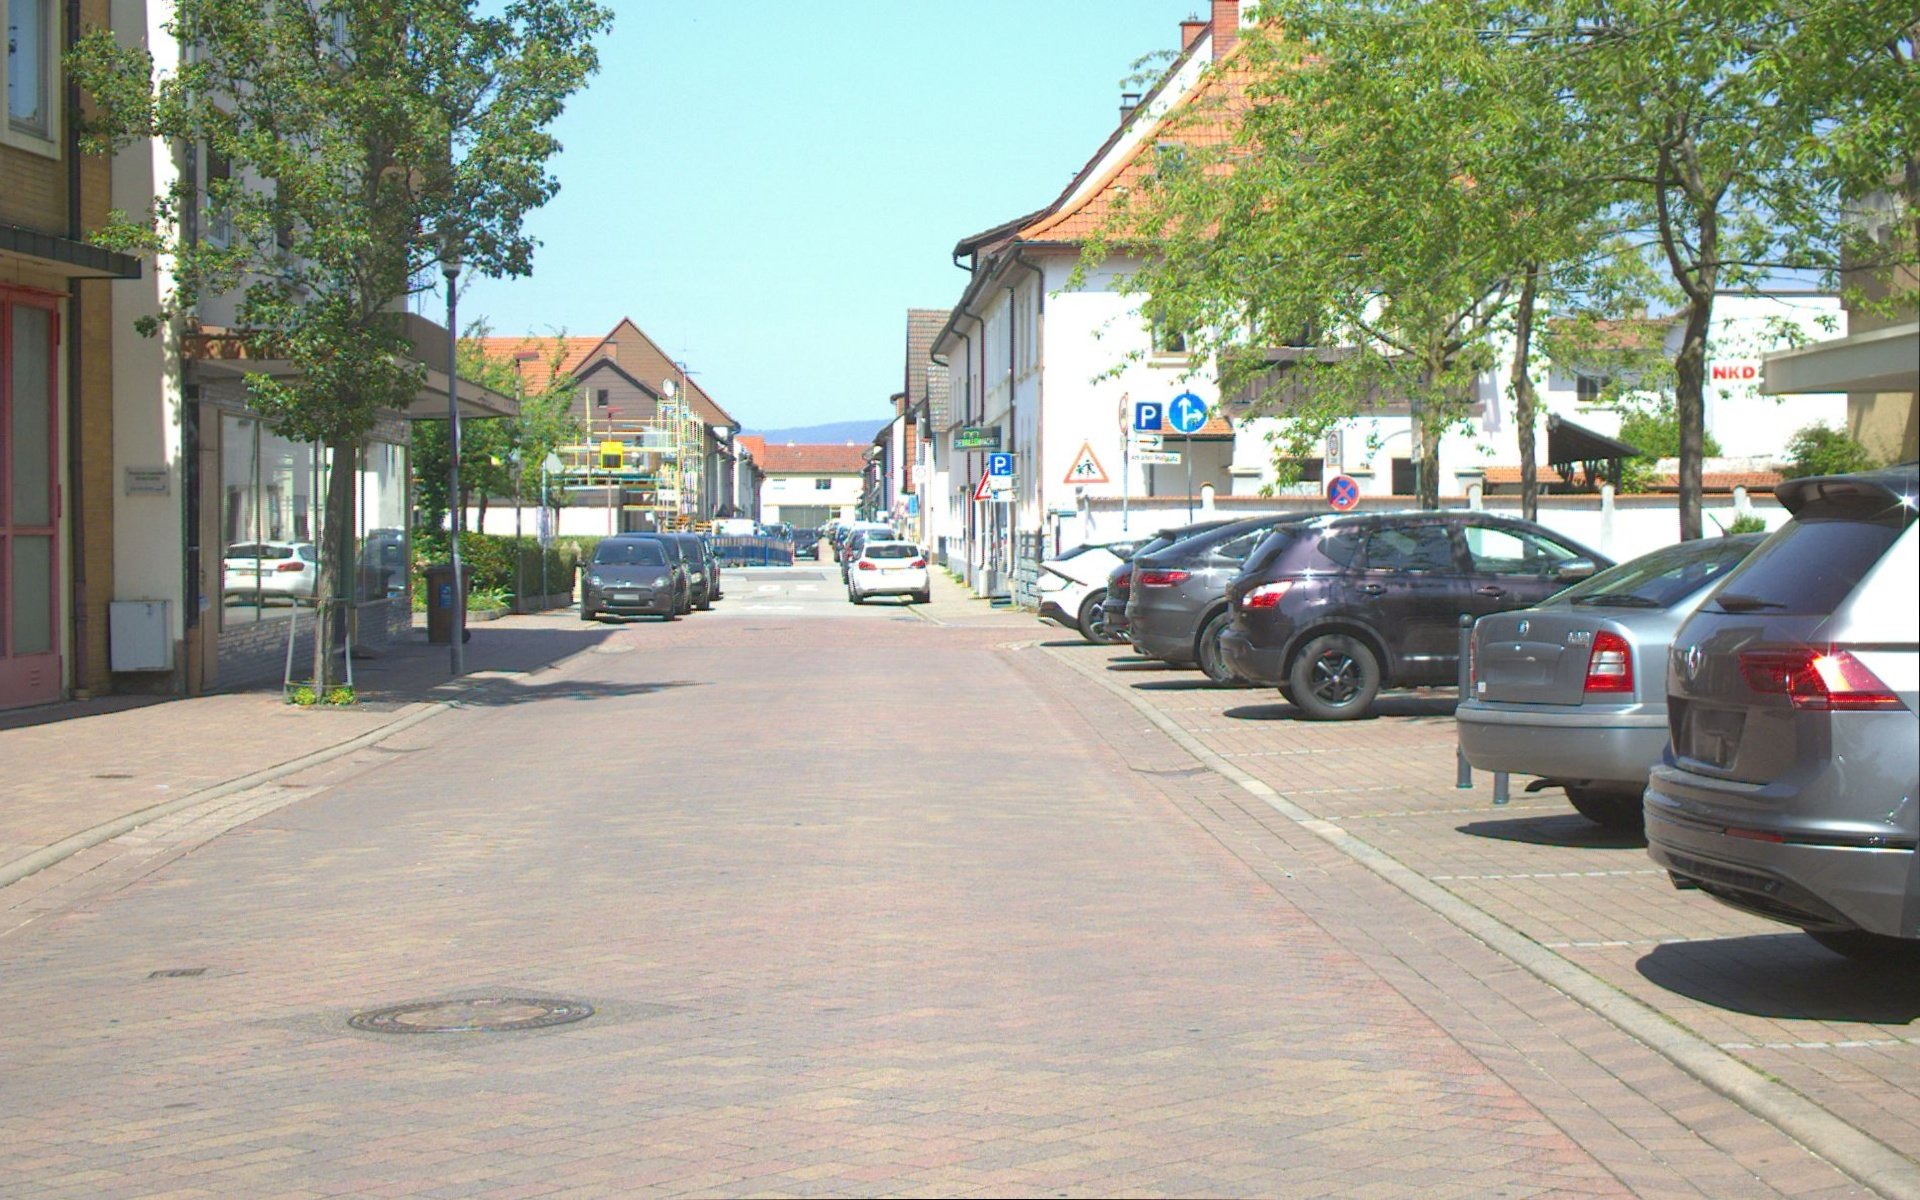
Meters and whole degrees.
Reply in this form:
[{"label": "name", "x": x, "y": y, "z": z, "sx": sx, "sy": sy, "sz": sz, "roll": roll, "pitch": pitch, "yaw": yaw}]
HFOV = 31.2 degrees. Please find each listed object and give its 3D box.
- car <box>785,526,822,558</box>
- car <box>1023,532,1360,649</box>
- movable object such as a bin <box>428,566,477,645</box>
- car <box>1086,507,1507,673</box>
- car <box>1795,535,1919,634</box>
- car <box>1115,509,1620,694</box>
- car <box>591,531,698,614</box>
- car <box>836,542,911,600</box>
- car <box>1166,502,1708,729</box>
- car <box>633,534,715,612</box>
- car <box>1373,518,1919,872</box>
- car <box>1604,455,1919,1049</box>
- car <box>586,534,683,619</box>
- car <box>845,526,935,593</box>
[{"label": "car", "x": -8.077, "y": -3.001, "z": 177.414, "sx": 1.881, "sy": 1.662, "sz": 4.154, "roll": 0, "pitch": 1, "yaw": -3}, {"label": "car", "x": 3.169, "y": -0.145, "z": 47.575, "sx": 4.439, "sy": 1.570, "sz": 1.789, "roll": 0, "pitch": 1, "yaw": -4}, {"label": "movable object such as a bin", "x": -6.945, "y": 0.070, "z": 47.084, "sx": 0.655, "sy": 1.066, "sz": 0.664, "roll": 1, "pitch": 1, "yaw": -8}, {"label": "car", "x": 3.621, "y": -0.126, "z": 37.514, "sx": 4.278, "sy": 1.675, "sz": 2.001, "roll": -1, "pitch": 1, "yaw": -3}, {"label": "car", "x": 14.735, "y": -0.251, "z": 52.343, "sx": 3.614, "sy": 1.447, "sz": 1.655, "roll": 0, "pitch": 2, "yaw": -1}, {"label": "car", "x": 3.746, "y": -0.004, "z": 32.186, "sx": 4.508, "sy": 1.583, "sz": 1.850, "roll": -1, "pitch": 1, "yaw": 1}, {"label": "car", "x": -6.267, "y": -0.568, "z": 68.619, "sx": 1.815, "sy": 1.599, "sz": 4.025, "roll": 0, "pitch": 1, "yaw": -1}, {"label": "car", "x": -2.578, "y": -0.872, "z": 101.381, "sx": 1.884, "sy": 1.550, "sz": 3.895, "roll": -4, "pitch": 2, "yaw": -5}, {"label": "car", "x": 3.722, "y": 0.096, "z": 27.270, "sx": 4.026, "sy": 1.606, "sz": 1.681, "roll": -2, "pitch": 3, "yaw": 0}, {"label": "car", "x": -6.148, "y": -0.611, "z": 74.300, "sx": 1.637, "sy": 1.623, "sz": 3.769, "roll": 0, "pitch": 1, "yaw": -3}, {"label": "car", "x": 4.415, "y": 0.358, "z": 16.823, "sx": 4.372, "sy": 1.458, "sz": 1.891, "roll": -3, "pitch": 2, "yaw": -25}, {"label": "car", "x": 4.249, "y": 0.366, "z": 10.328, "sx": 4.243, "sy": 1.612, "sz": 1.757, "roll": -1, "pitch": 1, "yaw": -3}, {"label": "car", "x": -5.956, "y": -0.458, "z": 62.812, "sx": 1.702, "sy": 1.491, "sz": 3.858, "roll": 0, "pitch": 1, "yaw": -6}, {"label": "car", "x": -1.638, "y": -0.973, "z": 81.488, "sx": 1.887, "sy": 1.536, "sz": 4.242, "roll": 0, "pitch": 1, "yaw": 2}]
